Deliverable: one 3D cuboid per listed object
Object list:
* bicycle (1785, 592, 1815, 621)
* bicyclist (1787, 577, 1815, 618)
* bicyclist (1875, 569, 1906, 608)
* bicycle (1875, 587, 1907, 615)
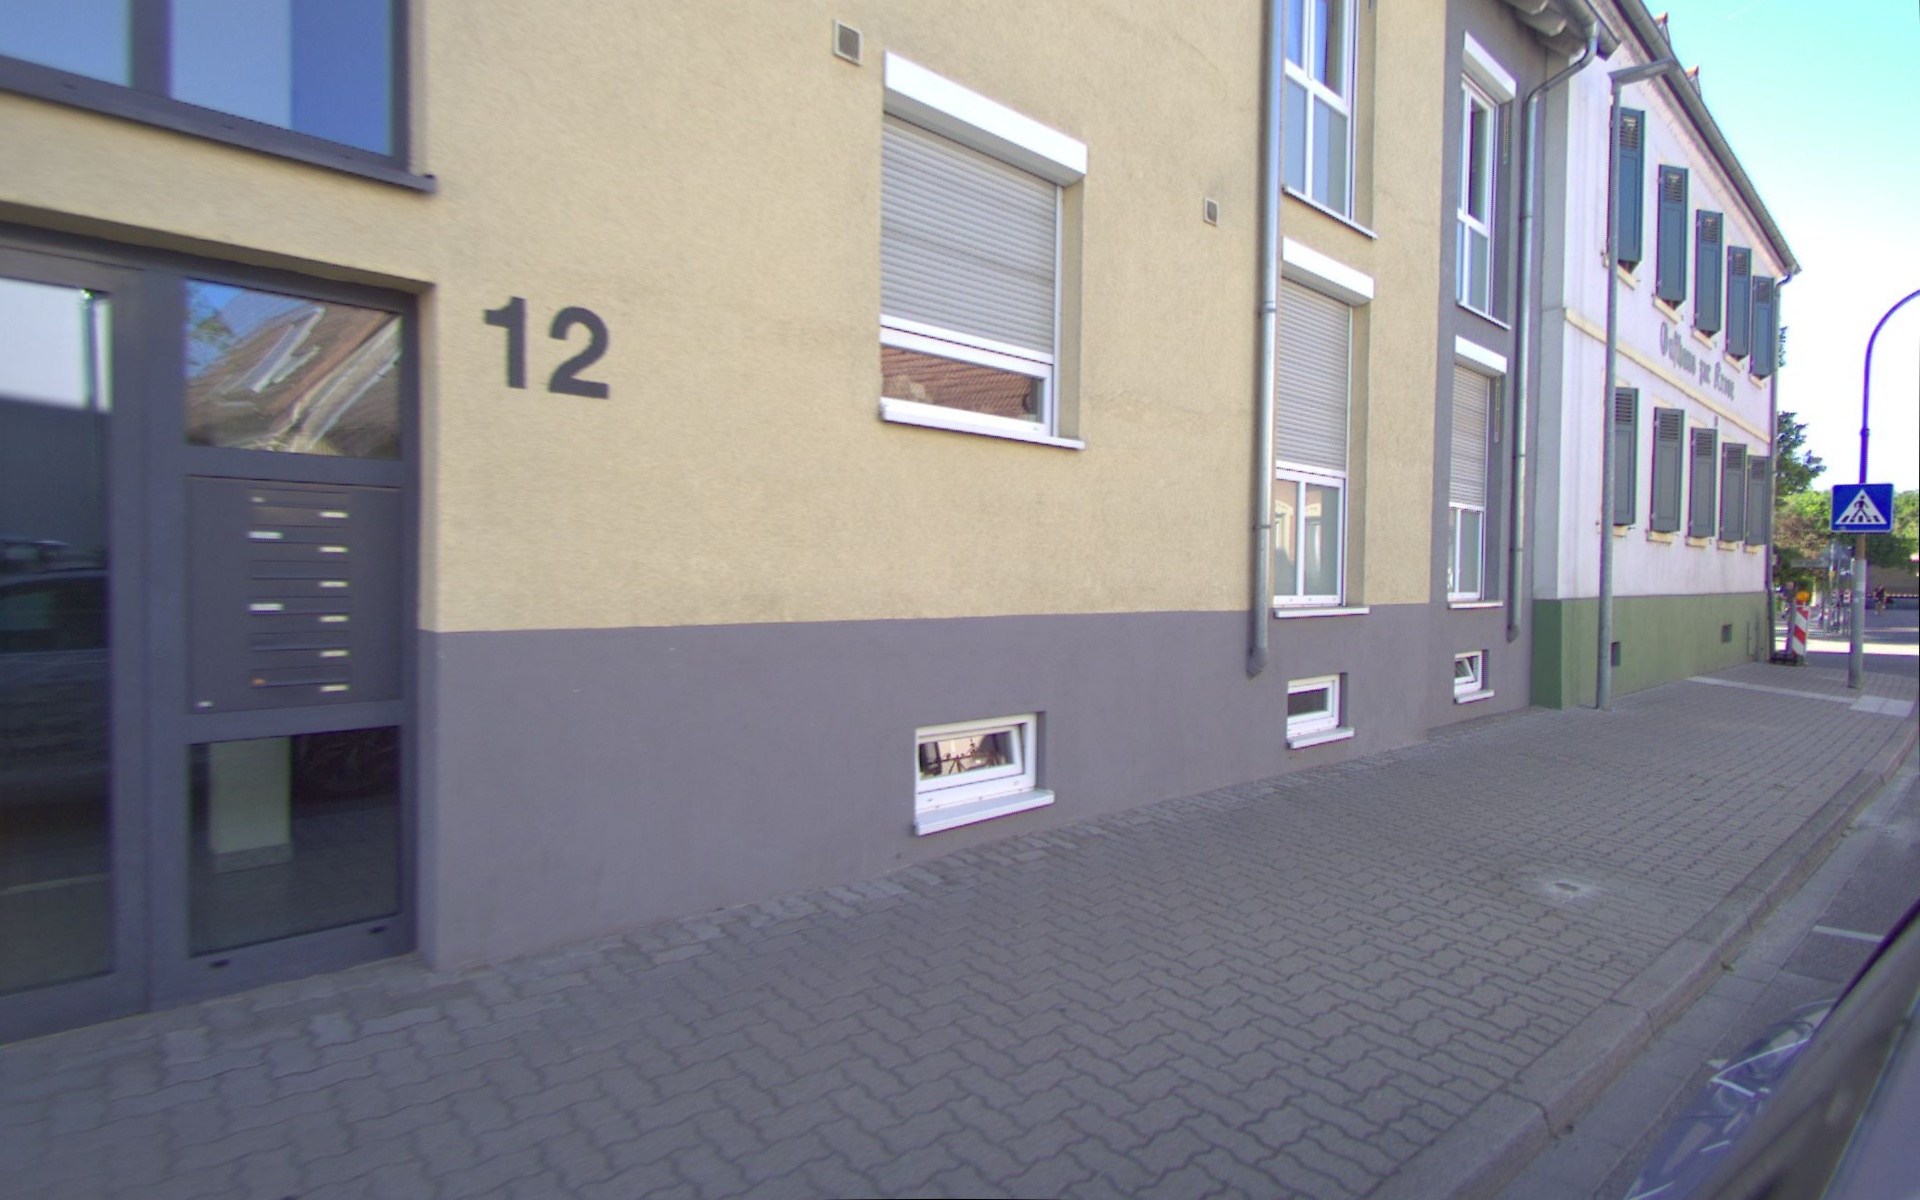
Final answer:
[{"bbox_3d":[33.843,0.263,40.778,1.787,1.076,0.668,-2,6,-44],"label":"bicycle"},{"bbox_3d":[33.889,-0.104,40.785,0.899,1.557,0.668,-1,5,-44],"label":"bicyclist"},{"bbox_3d":[56.567,-0.708,61.504,1.222,2.337,1.254,-1,-1,-44],"label":"bicyclist"},{"bbox_3d":[56.518,0.037,61.440,1.254,1.571,3.936,-2,0,45],"label":"bicycle"}]
